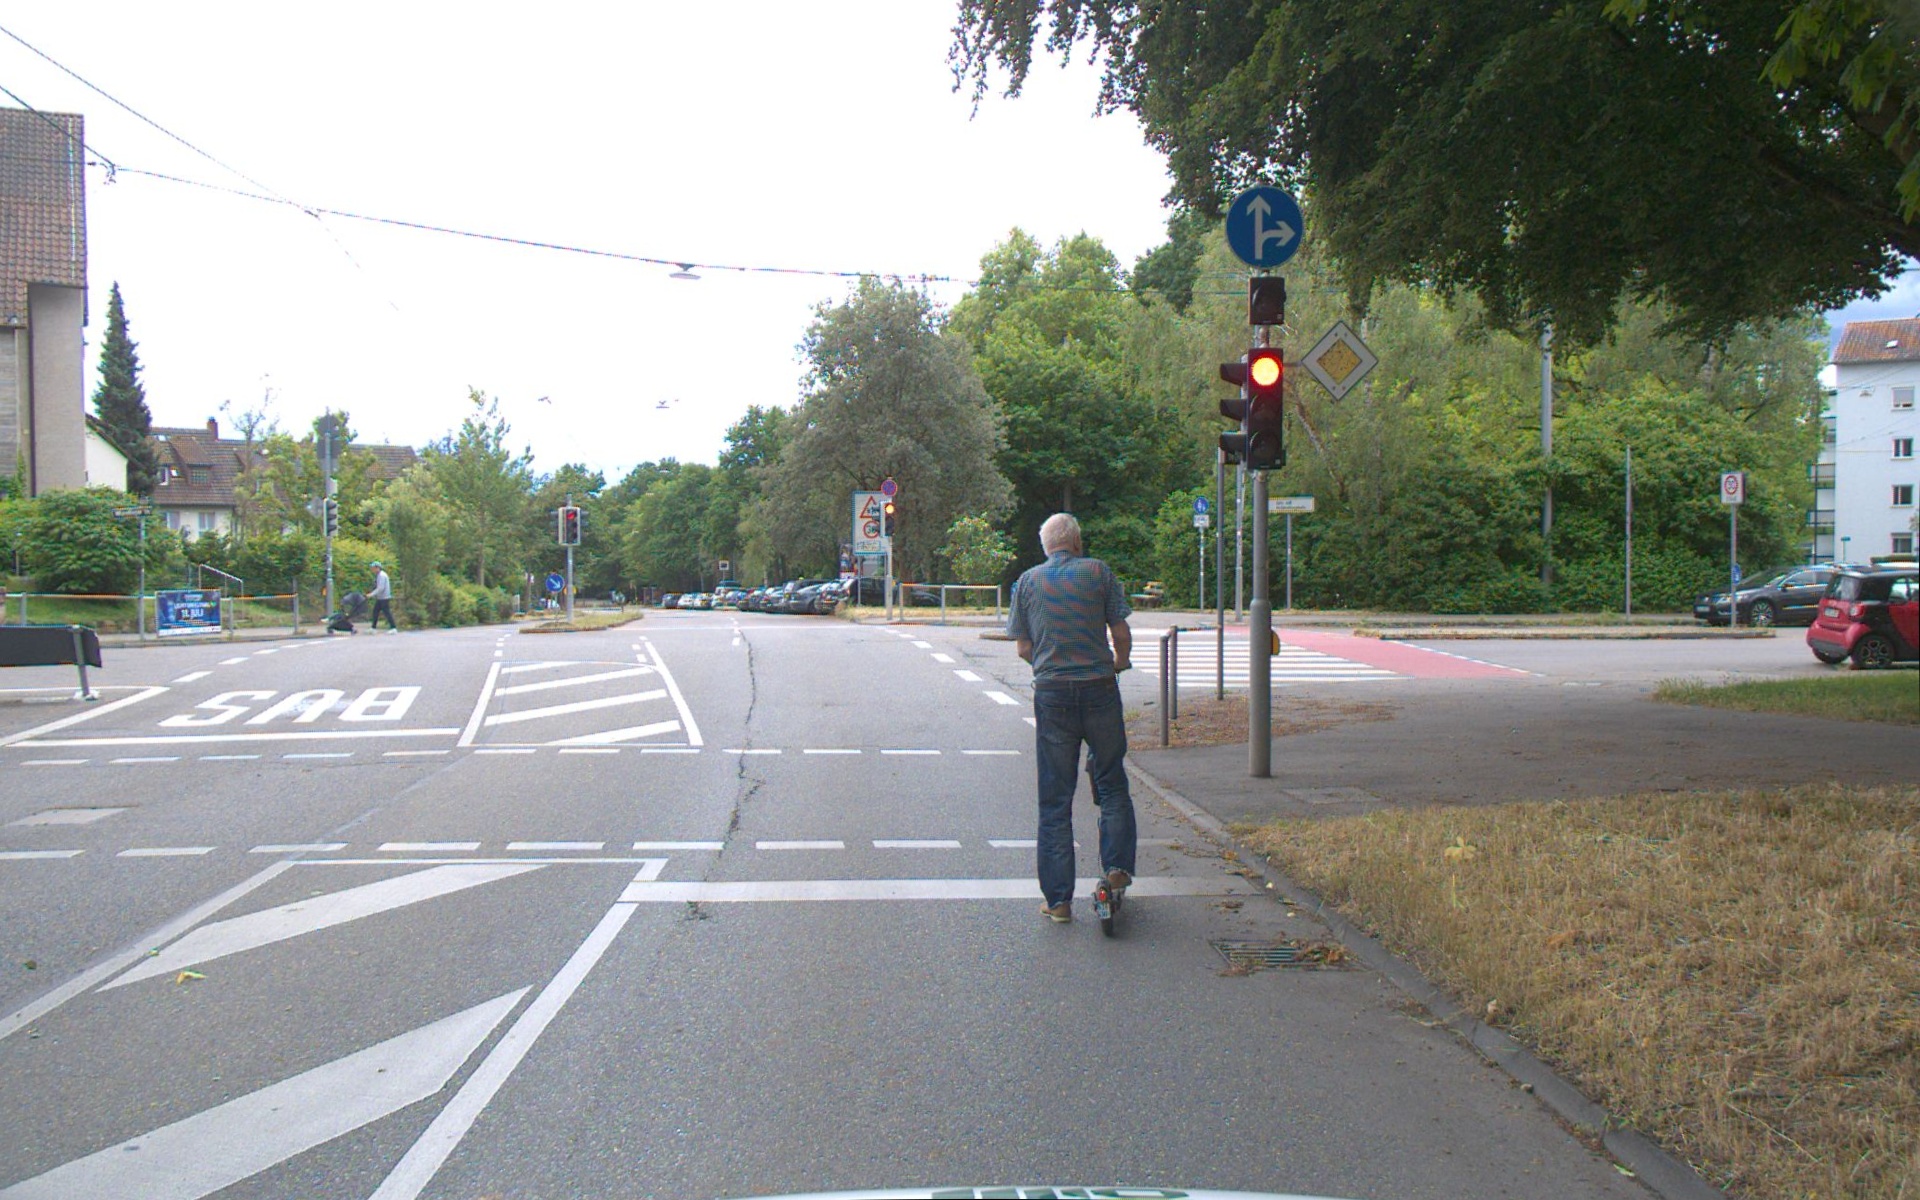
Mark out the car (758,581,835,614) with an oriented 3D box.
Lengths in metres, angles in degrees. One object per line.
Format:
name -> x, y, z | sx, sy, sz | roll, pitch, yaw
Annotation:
car -> -8.804, -0.151, 88.924 | 3.790, 1.639, 1.716 | -2, 1, -24

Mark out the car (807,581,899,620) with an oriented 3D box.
car -> -4.847, 0.006, 74.710 | 3.787, 1.639, 1.717 | -2, 1, -22

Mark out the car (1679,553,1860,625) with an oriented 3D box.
car -> 19.149, -0.266, 39.233 | 3.444, 1.557, 1.729 | -2, 1, 5

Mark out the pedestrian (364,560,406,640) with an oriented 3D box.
pedestrian -> -13.797, -0.003, 39.710 | 0.869, 1.895, 0.572 | -1, 0, -14

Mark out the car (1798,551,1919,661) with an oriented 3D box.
car -> 15.251, 0.045, 25.831 | 3.444, 1.639, 1.729 | -2, 1, 4

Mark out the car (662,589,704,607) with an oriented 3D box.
car -> -27.686, -0.184, 165.415 | 3.790, 1.639, 1.716 | -2, 1, -24

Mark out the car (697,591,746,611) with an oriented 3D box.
car -> -20.550, 0.072, 142.449 | 3.790, 1.639, 1.716 | -2, 1, -24

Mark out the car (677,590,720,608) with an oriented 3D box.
car -> -25.059, -0.105, 158.410 | 3.790, 1.639, 1.716 | -2, 1, -24

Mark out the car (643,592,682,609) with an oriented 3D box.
car -> -31.927, 0.054, 177.482 | 3.790, 1.639, 1.716 | -2, 1, -24

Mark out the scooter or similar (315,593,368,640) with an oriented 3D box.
scooter or similar -> -14.751, 0.393, 39.481 | 1.088, 1.100, 0.576 | -1, 0, -13

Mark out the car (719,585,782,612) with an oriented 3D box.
car -> -13.780, -0.098, 108.711 | 3.790, 1.639, 1.716 | -2, 1, -24

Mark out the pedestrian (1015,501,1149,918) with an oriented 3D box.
pedestrian -> 0.564, 0.486, 7.562 | 0.560, 1.845, 0.421 | -1, 0, 7

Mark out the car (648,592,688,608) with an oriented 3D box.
car -> -30.918, -0.004, 175.159 | 3.790, 1.639, 1.716 | -2, 1, -24

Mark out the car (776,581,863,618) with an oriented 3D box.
car -> -6.725, -0.020, 79.194 | 3.790, 1.639, 1.716 | -2, 1, -24

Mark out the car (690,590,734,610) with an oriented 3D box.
car -> -23.057, -0.004, 153.715 | 3.790, 1.639, 1.716 | -2, 1, -24

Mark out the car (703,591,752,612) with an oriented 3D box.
car -> -19.515, 0.105, 138.933 | 3.790, 1.639, 1.716 | -2, 1, -24

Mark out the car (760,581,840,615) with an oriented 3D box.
car -> -8.365, -0.137, 86.518 | 3.790, 1.639, 1.716 | -2, 1, -24

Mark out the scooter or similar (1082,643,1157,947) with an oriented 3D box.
scooter or similar -> 0.726, 0.817, 7.389 | 0.276, 1.199, 1.178 | -1, 1, 7

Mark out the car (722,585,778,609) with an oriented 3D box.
car -> -15.436, -0.237, 121.655 | 3.790, 1.639, 1.716 | -2, 1, -24

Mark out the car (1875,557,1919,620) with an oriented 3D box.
car -> 26.401, -0.341, 45.812 | 1.689, 1.639, 3.850 | -1, 1, 27

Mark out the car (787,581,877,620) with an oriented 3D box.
car -> -5.932, 0.000, 76.665 | 3.792, 1.639, 1.715 | -2, 1, -25

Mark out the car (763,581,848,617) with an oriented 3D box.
car -> -7.577, -0.074, 81.216 | 3.790, 1.639, 1.716 | -2, 1, -24

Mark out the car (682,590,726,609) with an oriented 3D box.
car -> -24.116, -0.077, 155.832 | 3.790, 1.639, 1.716 | -2, 1, -24
